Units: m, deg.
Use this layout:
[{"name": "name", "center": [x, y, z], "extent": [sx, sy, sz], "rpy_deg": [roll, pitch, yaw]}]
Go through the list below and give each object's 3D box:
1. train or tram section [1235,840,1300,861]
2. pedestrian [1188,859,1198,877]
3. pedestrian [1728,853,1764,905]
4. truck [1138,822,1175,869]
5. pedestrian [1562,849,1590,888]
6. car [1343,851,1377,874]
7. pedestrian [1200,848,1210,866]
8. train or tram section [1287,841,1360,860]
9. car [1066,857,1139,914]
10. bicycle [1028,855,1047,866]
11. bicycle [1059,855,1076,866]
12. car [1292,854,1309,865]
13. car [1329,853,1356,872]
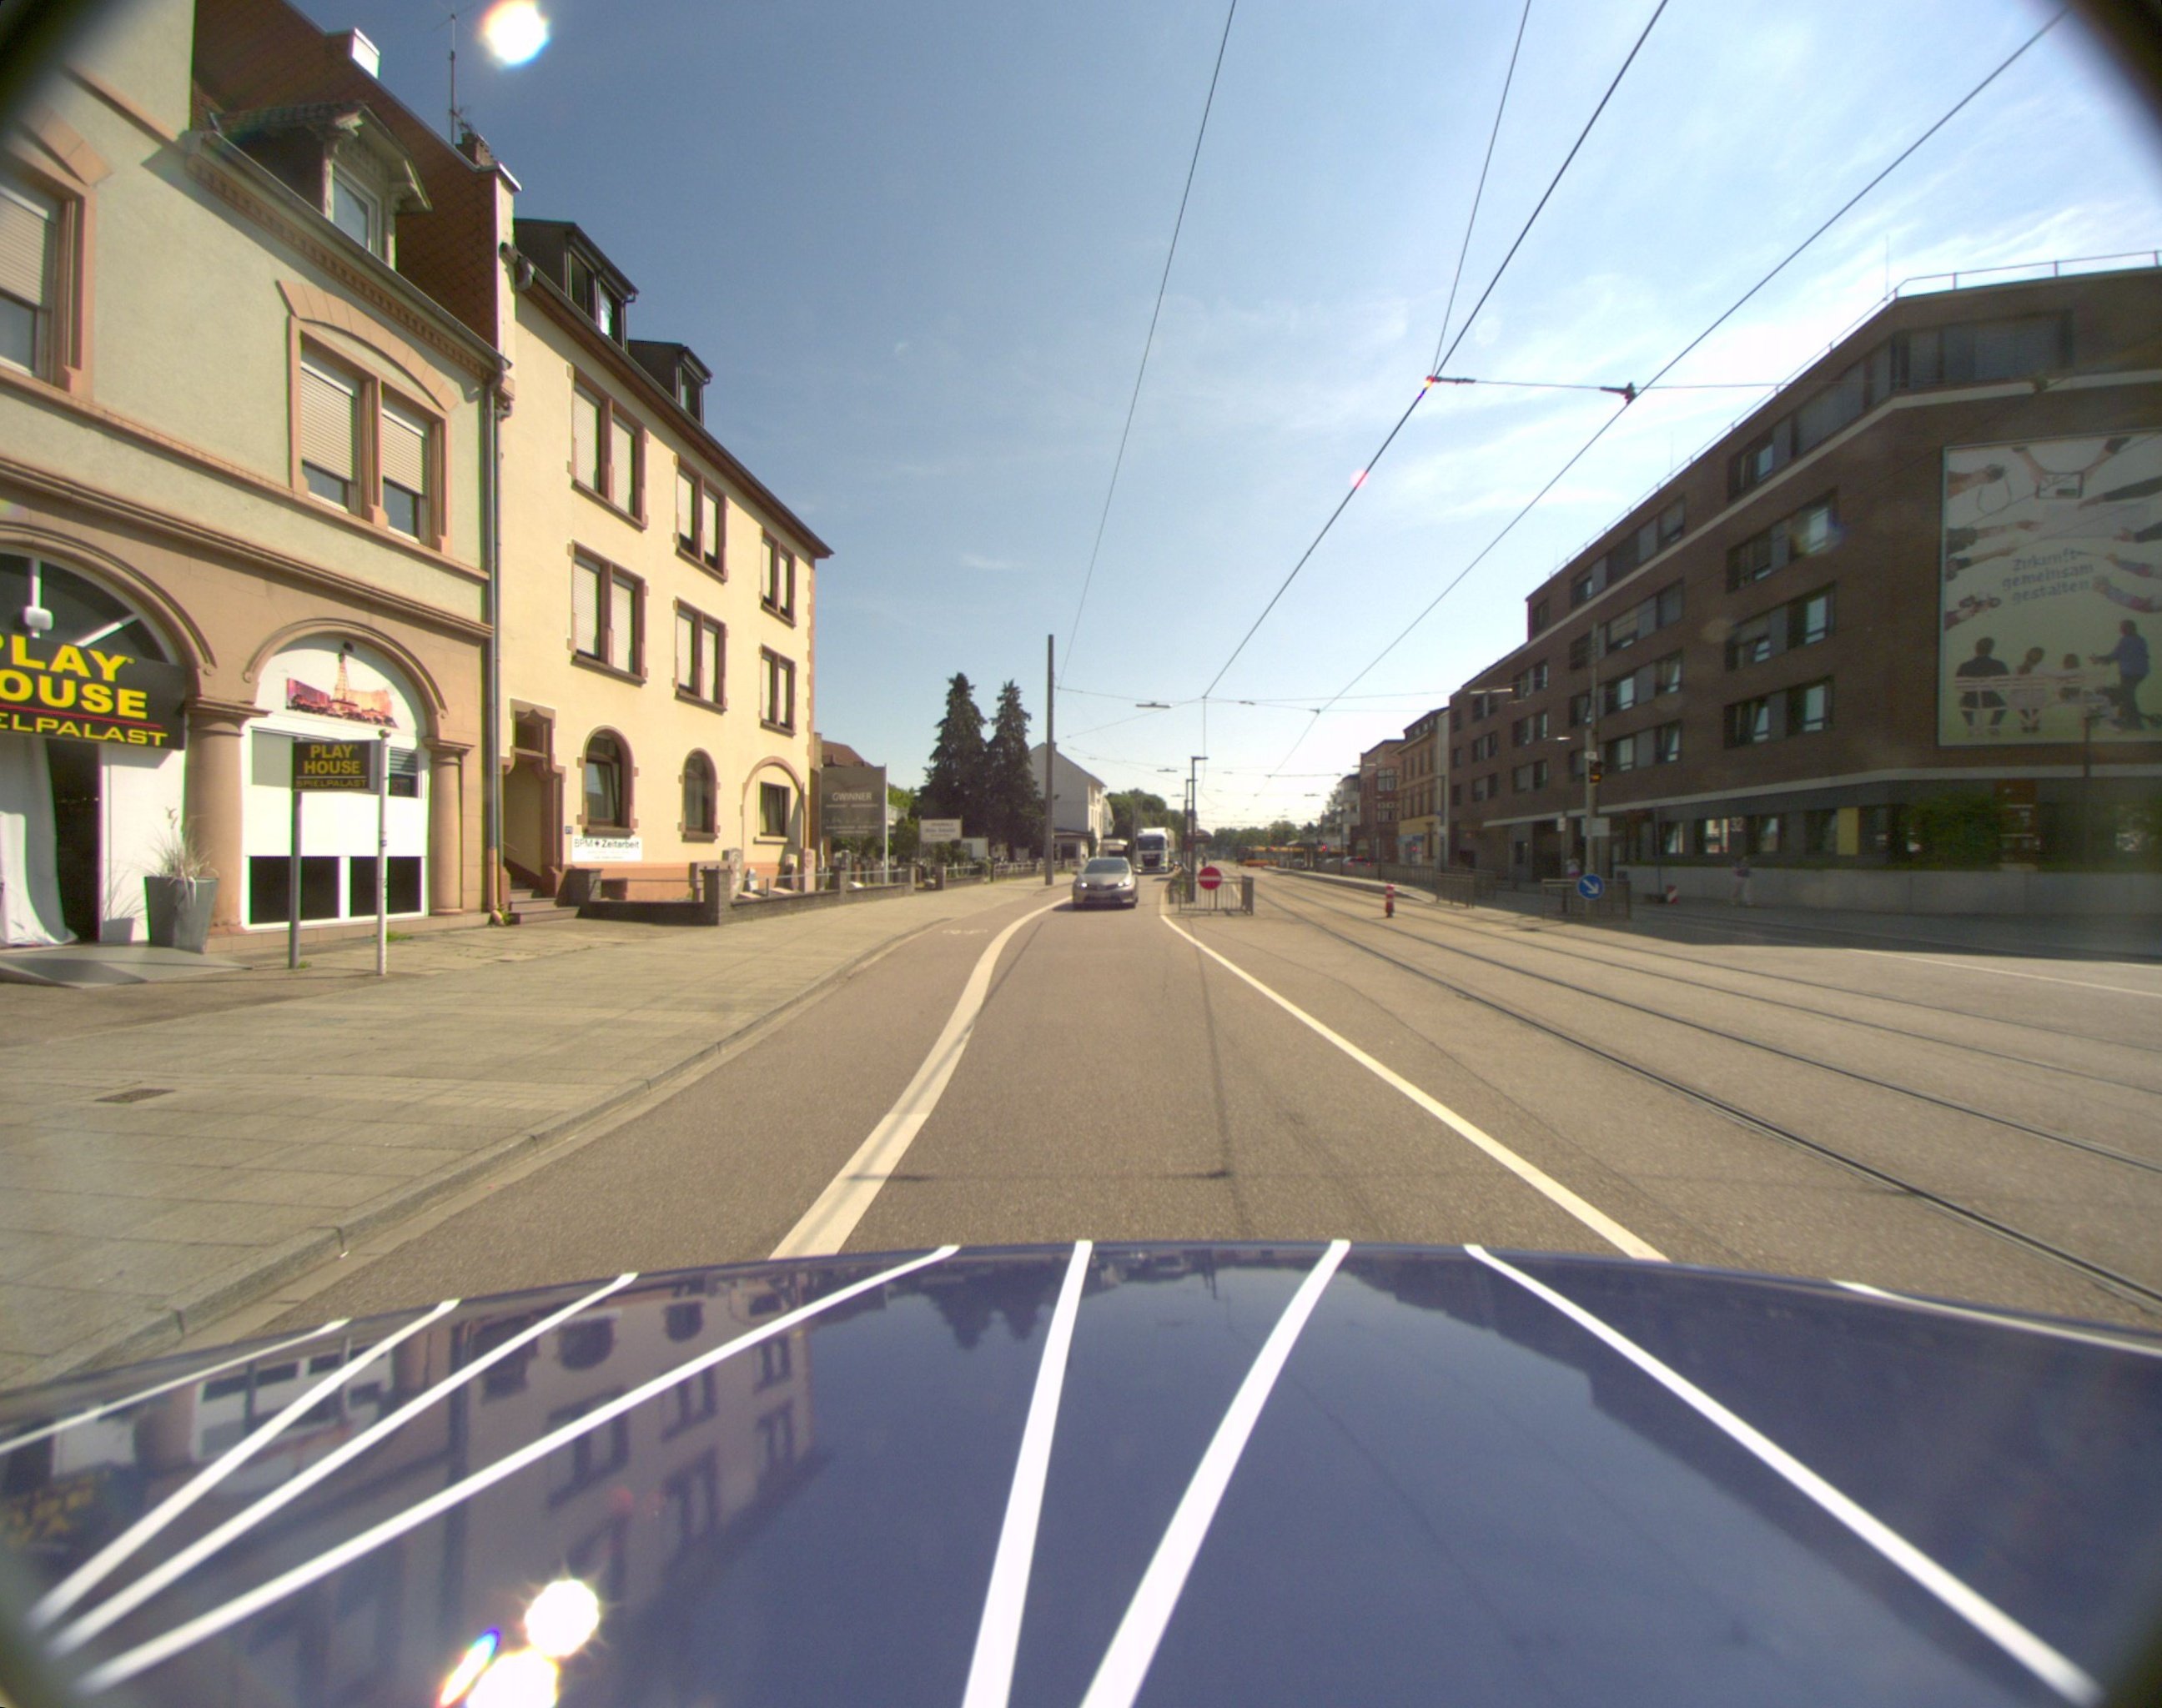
[{"name": "train or tram section", "center": [32.114, -0.578, 130.552], "extent": [13.363, 3.460, 2.681], "rpy_deg": [0, 0, -34]}, {"name": "pedestrian", "center": [7.583, 0.944, 51.468], "extent": [0.630, 1.247, 0.710], "rpy_deg": [1, 1, 8]}, {"name": "pedestrian", "center": [21.547, 0.807, 24.621], "extent": [0.582, 1.654, 0.700], "rpy_deg": [0, 1, 8]}, {"name": "truck", "center": [6.626, -0.682, 65.888], "extent": [2.655, 3.772, 7.869], "rpy_deg": [0, 0, 10]}, {"name": "pedestrian", "center": [23.508, 0.693, 36.094], "extent": [0.846, 1.808, 0.839], "rpy_deg": [0, 0, 10]}, {"name": "car", "center": [22.247, 0.663, 60.732], "extent": [1.804, 1.718, 4.192], "rpy_deg": [-2, 0, 10]}, {"name": "pedestrian", "center": [12.682, 0.292, 77.512], "extent": [0.982, 1.847, 1.238], "rpy_deg": [0, 0, 9]}, {"name": "train or tram section", "center": [43.490, -0.630, 136.135], "extent": [13.347, 3.460, 2.684], "rpy_deg": [0, 1, -17]}, {"name": "car", "center": [0.705, 0.807, 21.537], "extent": [1.694, 1.440, 4.483], "rpy_deg": [-1, 0, 6]}, {"name": "bicycle", "center": [-4.371, 0.632, 76.893], "extent": [1.794, 1.104, 0.513], "rpy_deg": [1, 0, 13]}, {"name": "bicycle", "center": [-1.372, 0.659, 76.984], "extent": [1.685, 1.104, 0.515], "rpy_deg": [1, 0, 34]}, {"name": "car", "center": [28.779, 0.709, 99.692], "extent": [1.715, 1.236, 4.082], "rpy_deg": [-2, 0, 9]}, {"name": "car", "center": [23.799, 0.759, 69.320], "extent": [1.715, 1.613, 3.581], "rpy_deg": [-1, 0, 10]}]
